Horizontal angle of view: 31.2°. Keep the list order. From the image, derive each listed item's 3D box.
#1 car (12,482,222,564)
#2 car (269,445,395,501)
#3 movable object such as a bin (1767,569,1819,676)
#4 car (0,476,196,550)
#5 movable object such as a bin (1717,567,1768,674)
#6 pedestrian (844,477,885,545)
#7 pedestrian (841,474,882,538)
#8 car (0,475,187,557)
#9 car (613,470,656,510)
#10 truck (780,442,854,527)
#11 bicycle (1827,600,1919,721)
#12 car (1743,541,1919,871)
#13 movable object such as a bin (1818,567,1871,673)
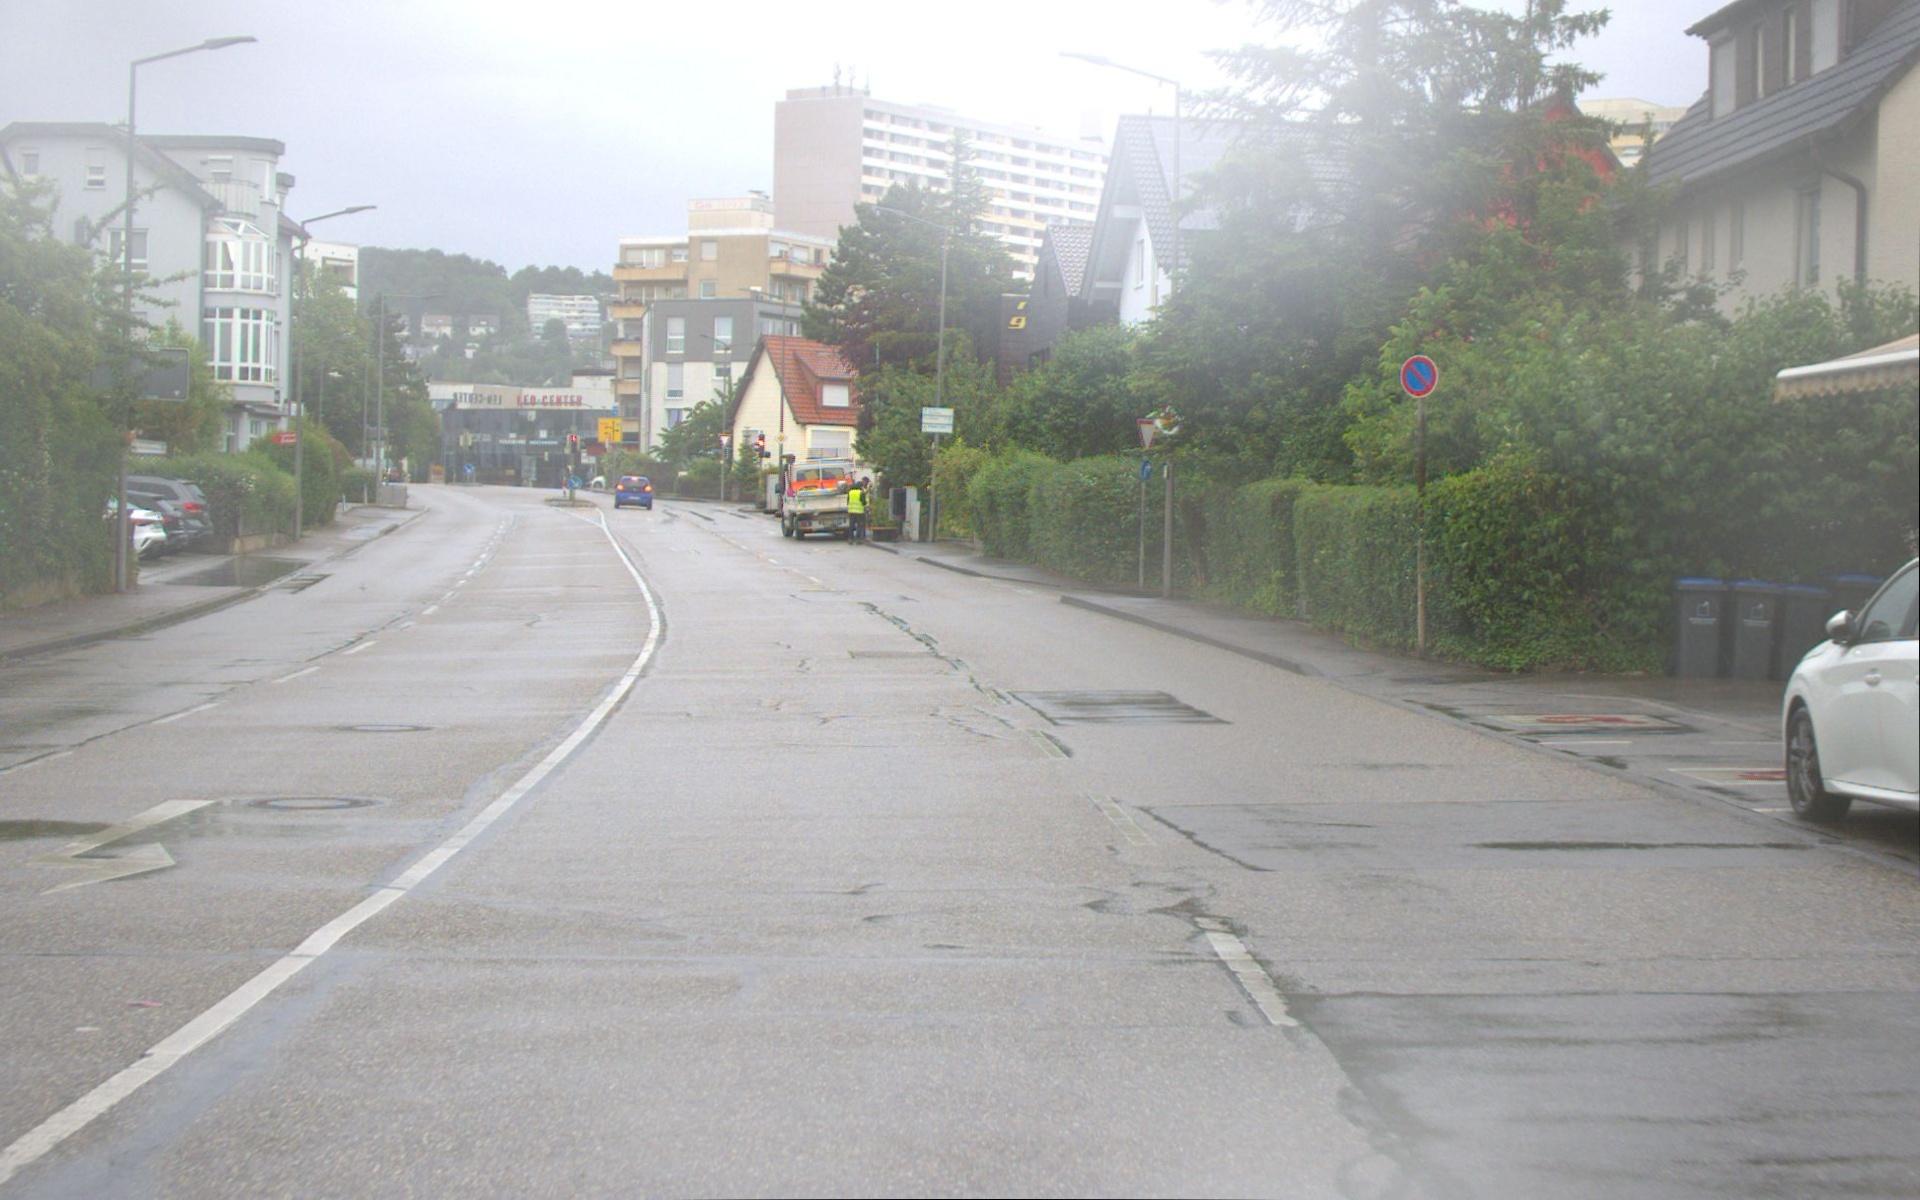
[{"bbox_3d":[-18.154,-1.661,74.060,3.989,1.680,1.808,1,1,12],"label":"car"},{"bbox_3d":[-25.342,-5.116,138.866,4.524,2.006,1.999,3,2,8],"label":"car"},{"bbox_3d":[7.805,0.207,32.207,0.366,0.983,0.356,1,1,-4],"label":"movable object such as a bin"},{"bbox_3d":[-17.827,-1.788,70.341,3.987,1.441,1.706,1,1,2],"label":"car"},{"bbox_3d":[7.314,0.186,32.143,0.366,0.983,0.356,1,1,-4],"label":"movable object such as a bin"},{"bbox_3d":[-2.564,-2.396,92.608,0.823,1.791,0.800,0,2,-24],"label":"pedestrian"},{"bbox_3d":[-2.672,-2.568,93.493,0.823,1.720,0.841,0,2,-23],"label":"pedestrian"},{"bbox_3d":[-17.528,-1.670,67.985,3.987,1.429,1.971,3,2,0],"label":"car"},{"bbox_3d":[-14.368,-4.844,151.876,1.794,1.664,4.001,1,1,-4],"label":"car"},{"bbox_3d":[-4.040,-3.261,96.944,1.993,2.295,4.001,1,2,-2],"label":"truck"},{"bbox_3d":[7.882,0.466,27.717,1.647,0.930,0.622,-3,0,18],"label":"bicycle"},{"bbox_3d":[5.140,0.452,16.346,1.815,1.443,4.204,0,1,-1],"label":"car"},{"bbox_3d":[8.305,0.183,32.291,0.366,0.983,0.356,1,1,-4],"label":"movable object such as a bin"}]
